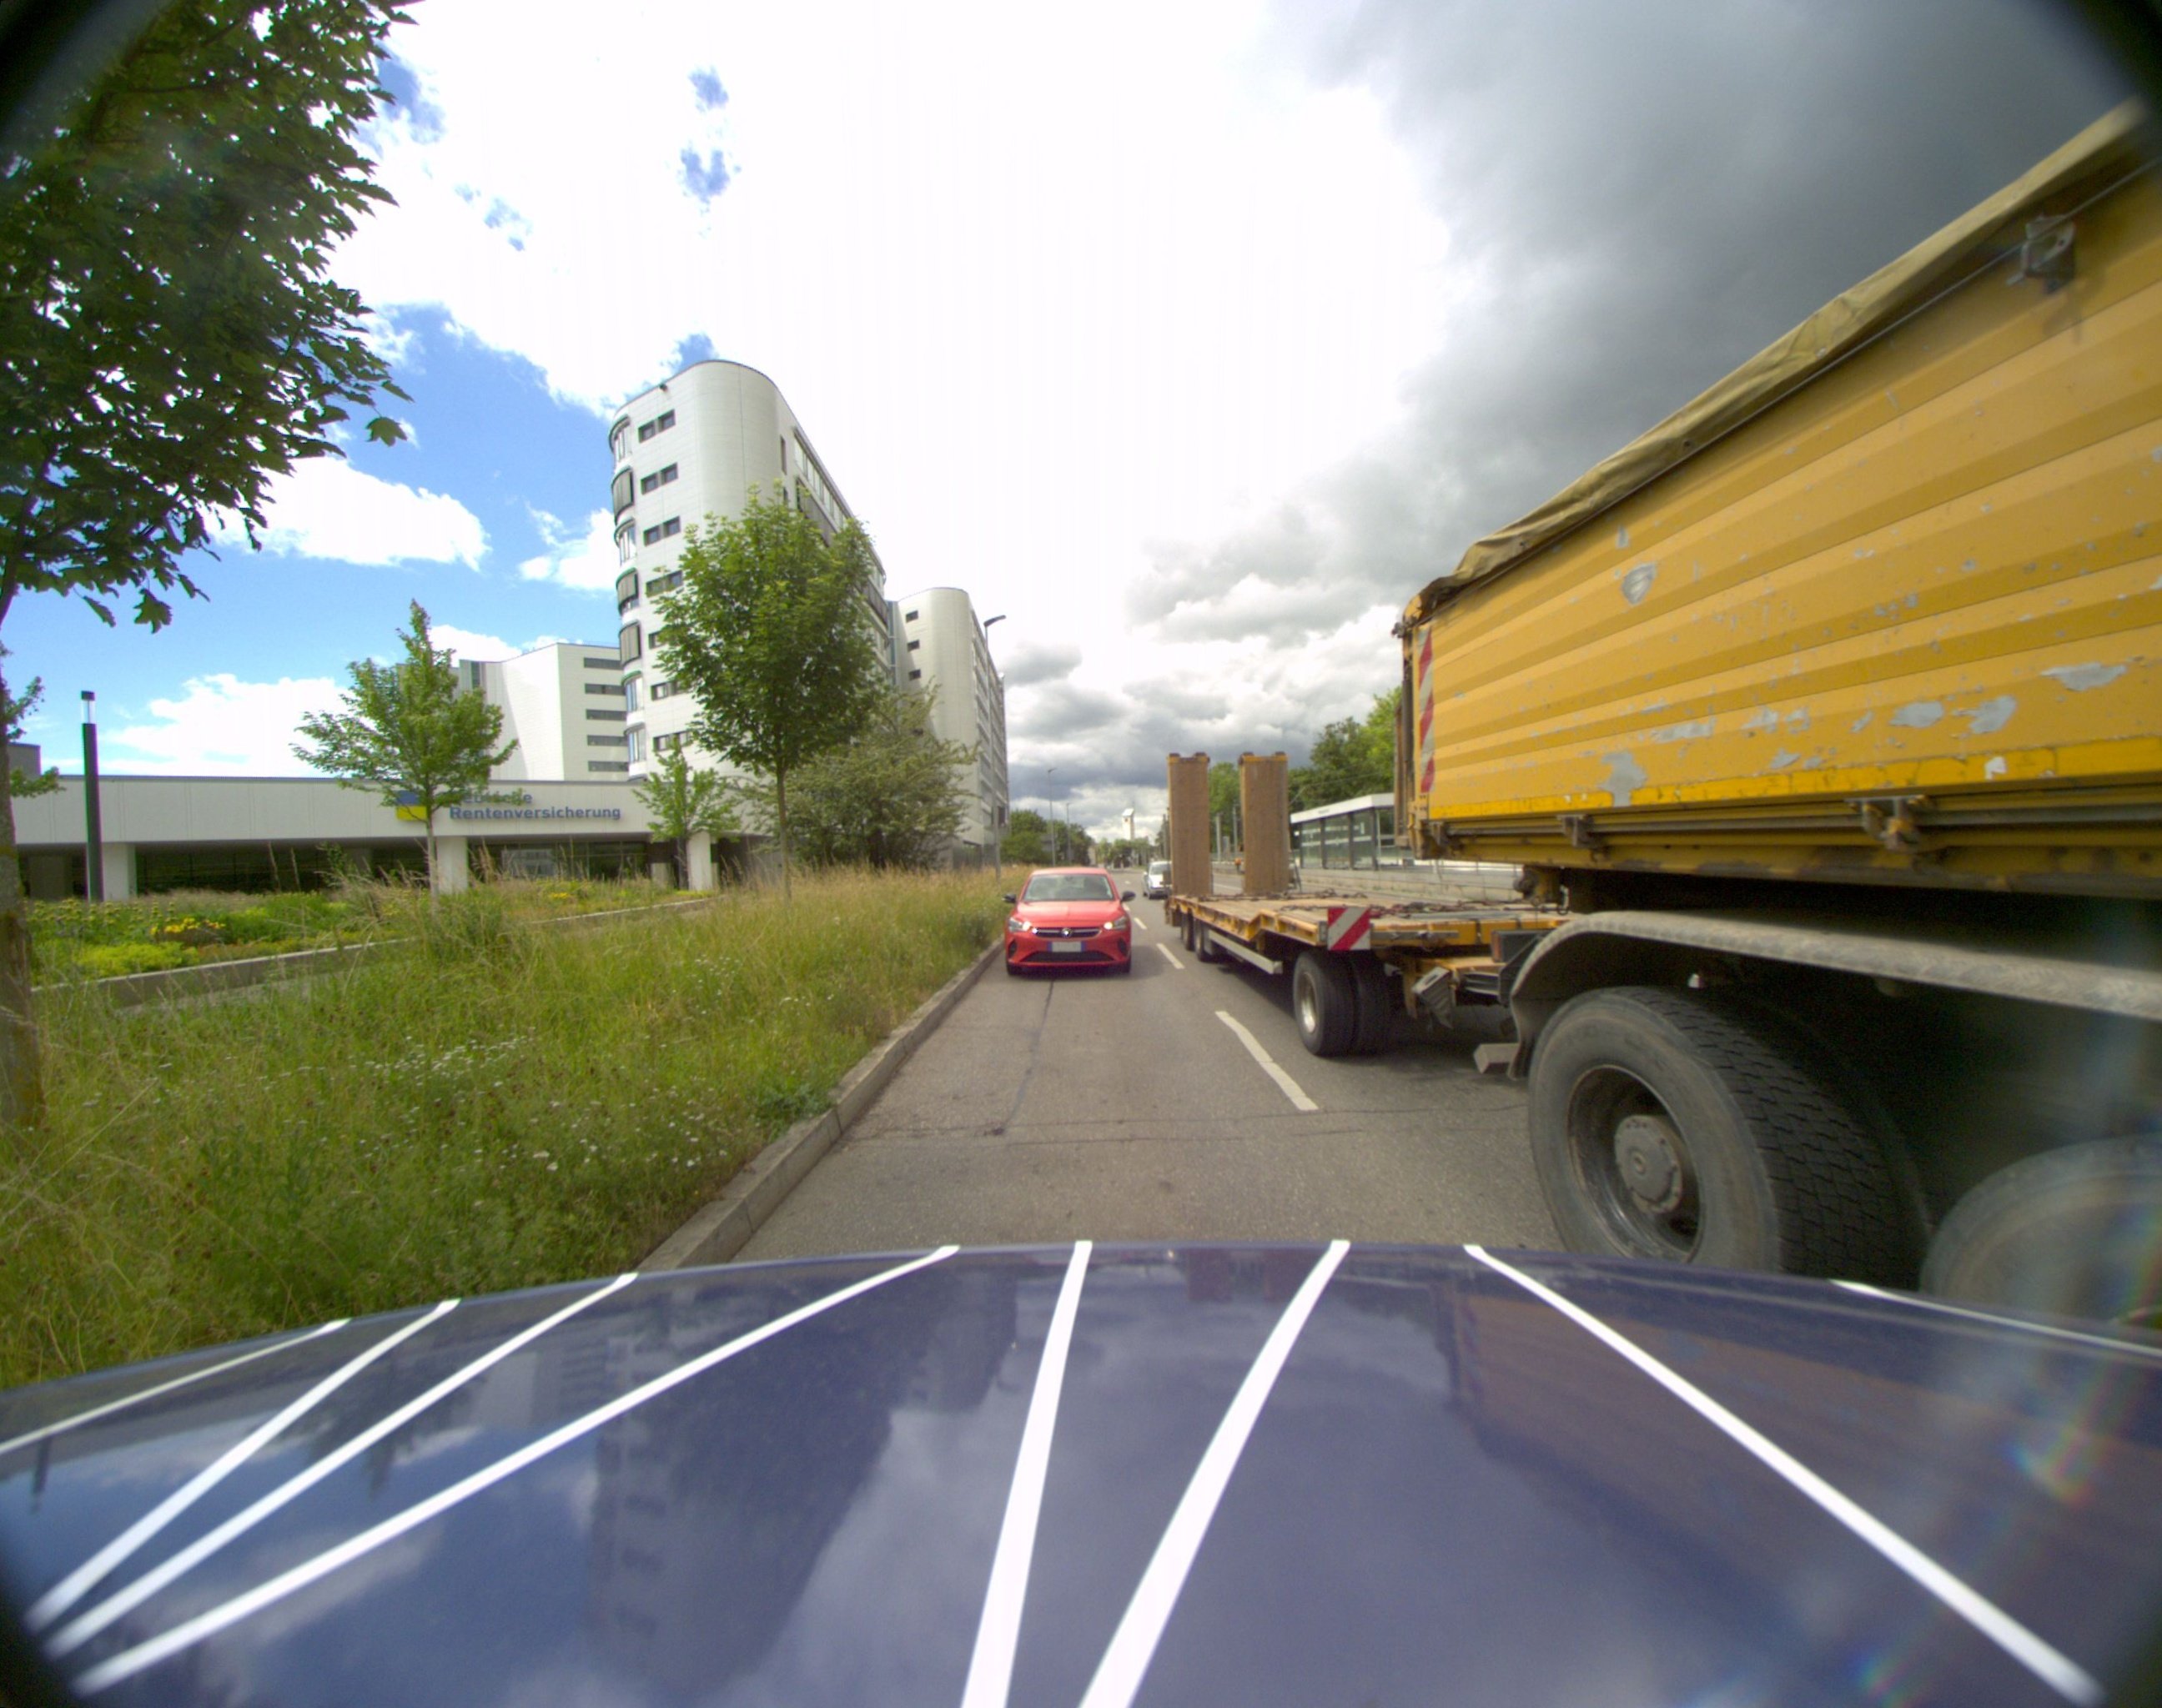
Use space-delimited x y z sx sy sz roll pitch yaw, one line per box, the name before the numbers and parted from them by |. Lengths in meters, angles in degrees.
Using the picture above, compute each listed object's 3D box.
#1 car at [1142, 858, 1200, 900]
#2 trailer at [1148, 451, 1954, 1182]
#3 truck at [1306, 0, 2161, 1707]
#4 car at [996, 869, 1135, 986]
car | 3.341 0.900 28.865 1.784 1.408 3.785 -2 0 1
trailer | 2.935 -0.170 9.416 3.057 3.676 10.965 -2 0 0
truck | 2.828 -0.056 0.115 3.057 3.374 8.006 -2 0 0
car | -0.167 0.969 11.468 1.749 1.408 3.676 -1 0 1
